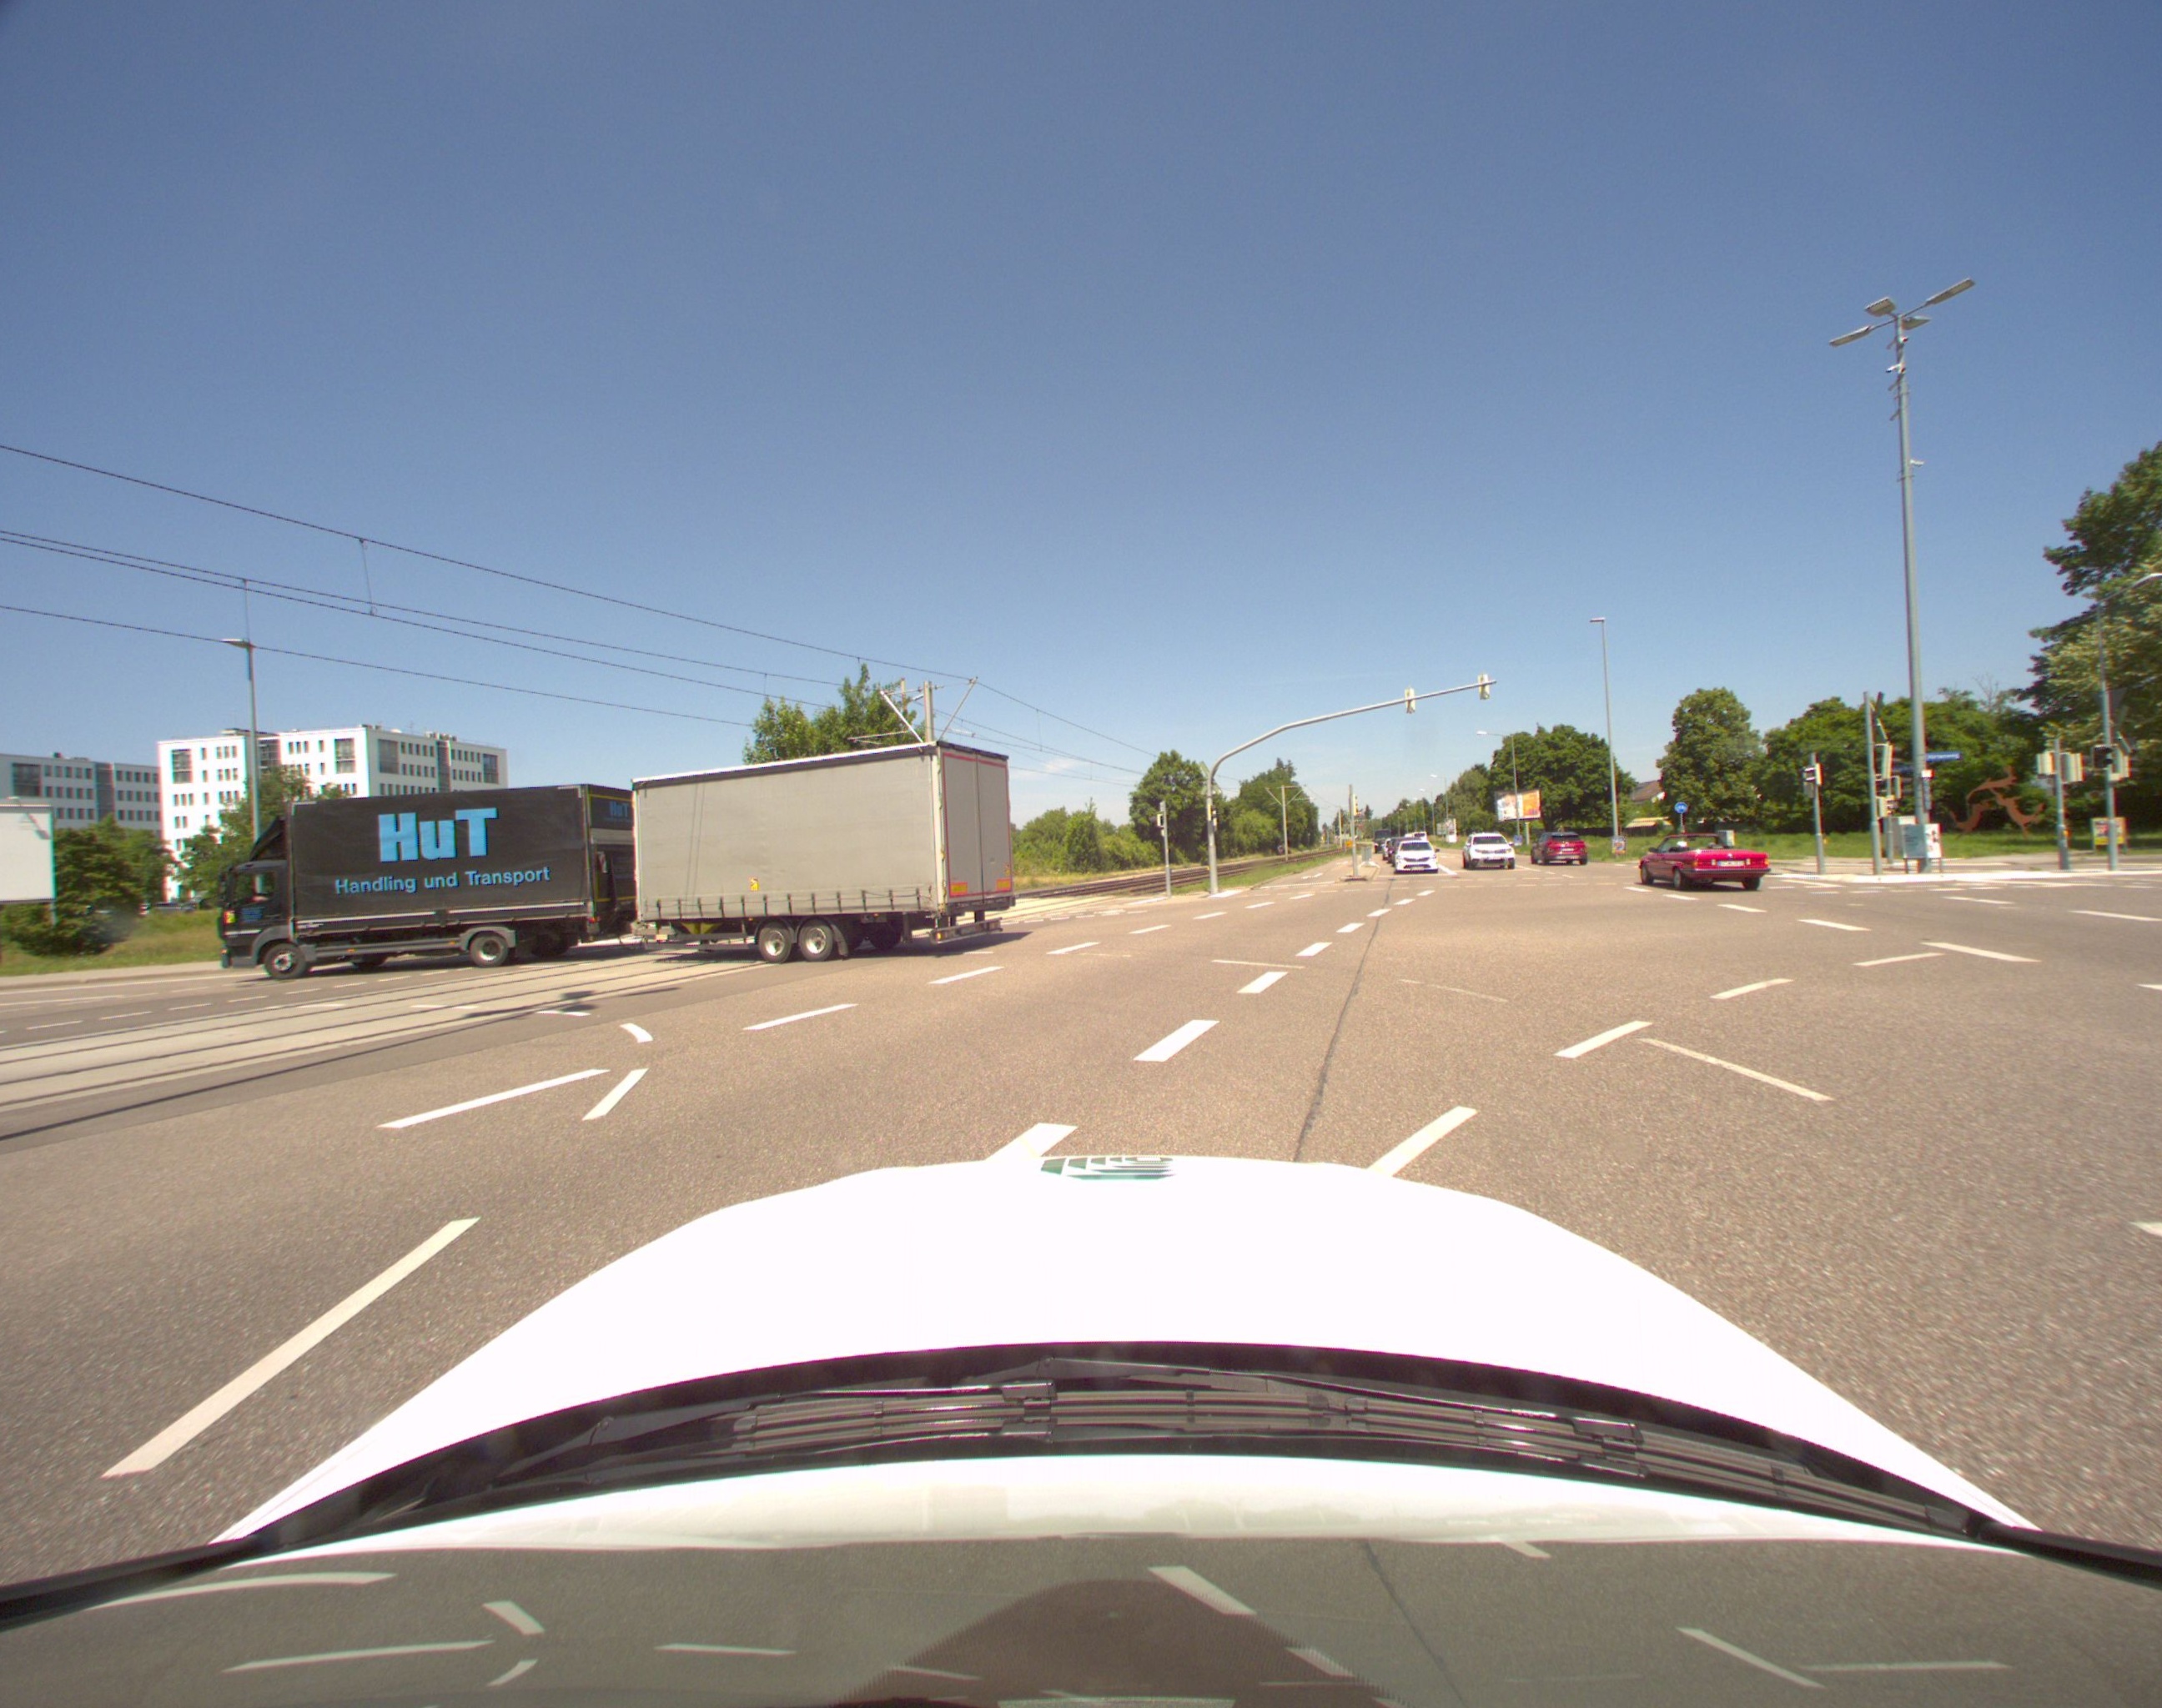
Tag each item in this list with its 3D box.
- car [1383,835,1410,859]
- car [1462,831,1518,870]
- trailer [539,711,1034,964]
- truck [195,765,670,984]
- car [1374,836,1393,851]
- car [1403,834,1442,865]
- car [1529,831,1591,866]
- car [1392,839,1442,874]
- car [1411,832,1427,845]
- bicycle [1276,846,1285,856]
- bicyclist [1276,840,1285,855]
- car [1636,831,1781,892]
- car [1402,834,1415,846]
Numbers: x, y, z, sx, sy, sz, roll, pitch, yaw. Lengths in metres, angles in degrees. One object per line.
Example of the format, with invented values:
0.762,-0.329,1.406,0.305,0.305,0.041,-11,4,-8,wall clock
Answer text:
22.728,-0.512,58.673,1.710,1.576,4.436,-2,0,22,car
18.420,-0.181,36.848,1.853,1.576,4.436,-2,0,22,car
-6.140,-0.068,16.612,9.690,4.069,3.104,-4,0,22,trailer
-14.113,0.437,18.317,7.912,4.070,3.085,-3,-1,-2,truck
33.721,-1.209,90.684,1.853,1.576,4.436,-2,0,22,car
18.892,-0.270,45.171,1.853,1.576,4.436,-2,0,22,car
22.834,-0.280,38.945,1.827,1.459,4.436,-3,0,22,car
14.879,0.056,36.188,1.853,1.389,4.436,-3,0,22,car
44.446,-2.023,107.235,1.753,1.755,4.020,-1,1,19,car
29.903,-0.450,121.968,1.052,1.345,2.709,-6,-1,18,bicycle
29.839,-0.977,121.948,1.063,2.013,1.191,-6,-2,17,bicyclist
15.559,0.132,20.460,1.745,1.348,4.335,-2,1,22,car
52.336,-2.221,130.079,1.753,1.755,4.020,-1,1,19,car
